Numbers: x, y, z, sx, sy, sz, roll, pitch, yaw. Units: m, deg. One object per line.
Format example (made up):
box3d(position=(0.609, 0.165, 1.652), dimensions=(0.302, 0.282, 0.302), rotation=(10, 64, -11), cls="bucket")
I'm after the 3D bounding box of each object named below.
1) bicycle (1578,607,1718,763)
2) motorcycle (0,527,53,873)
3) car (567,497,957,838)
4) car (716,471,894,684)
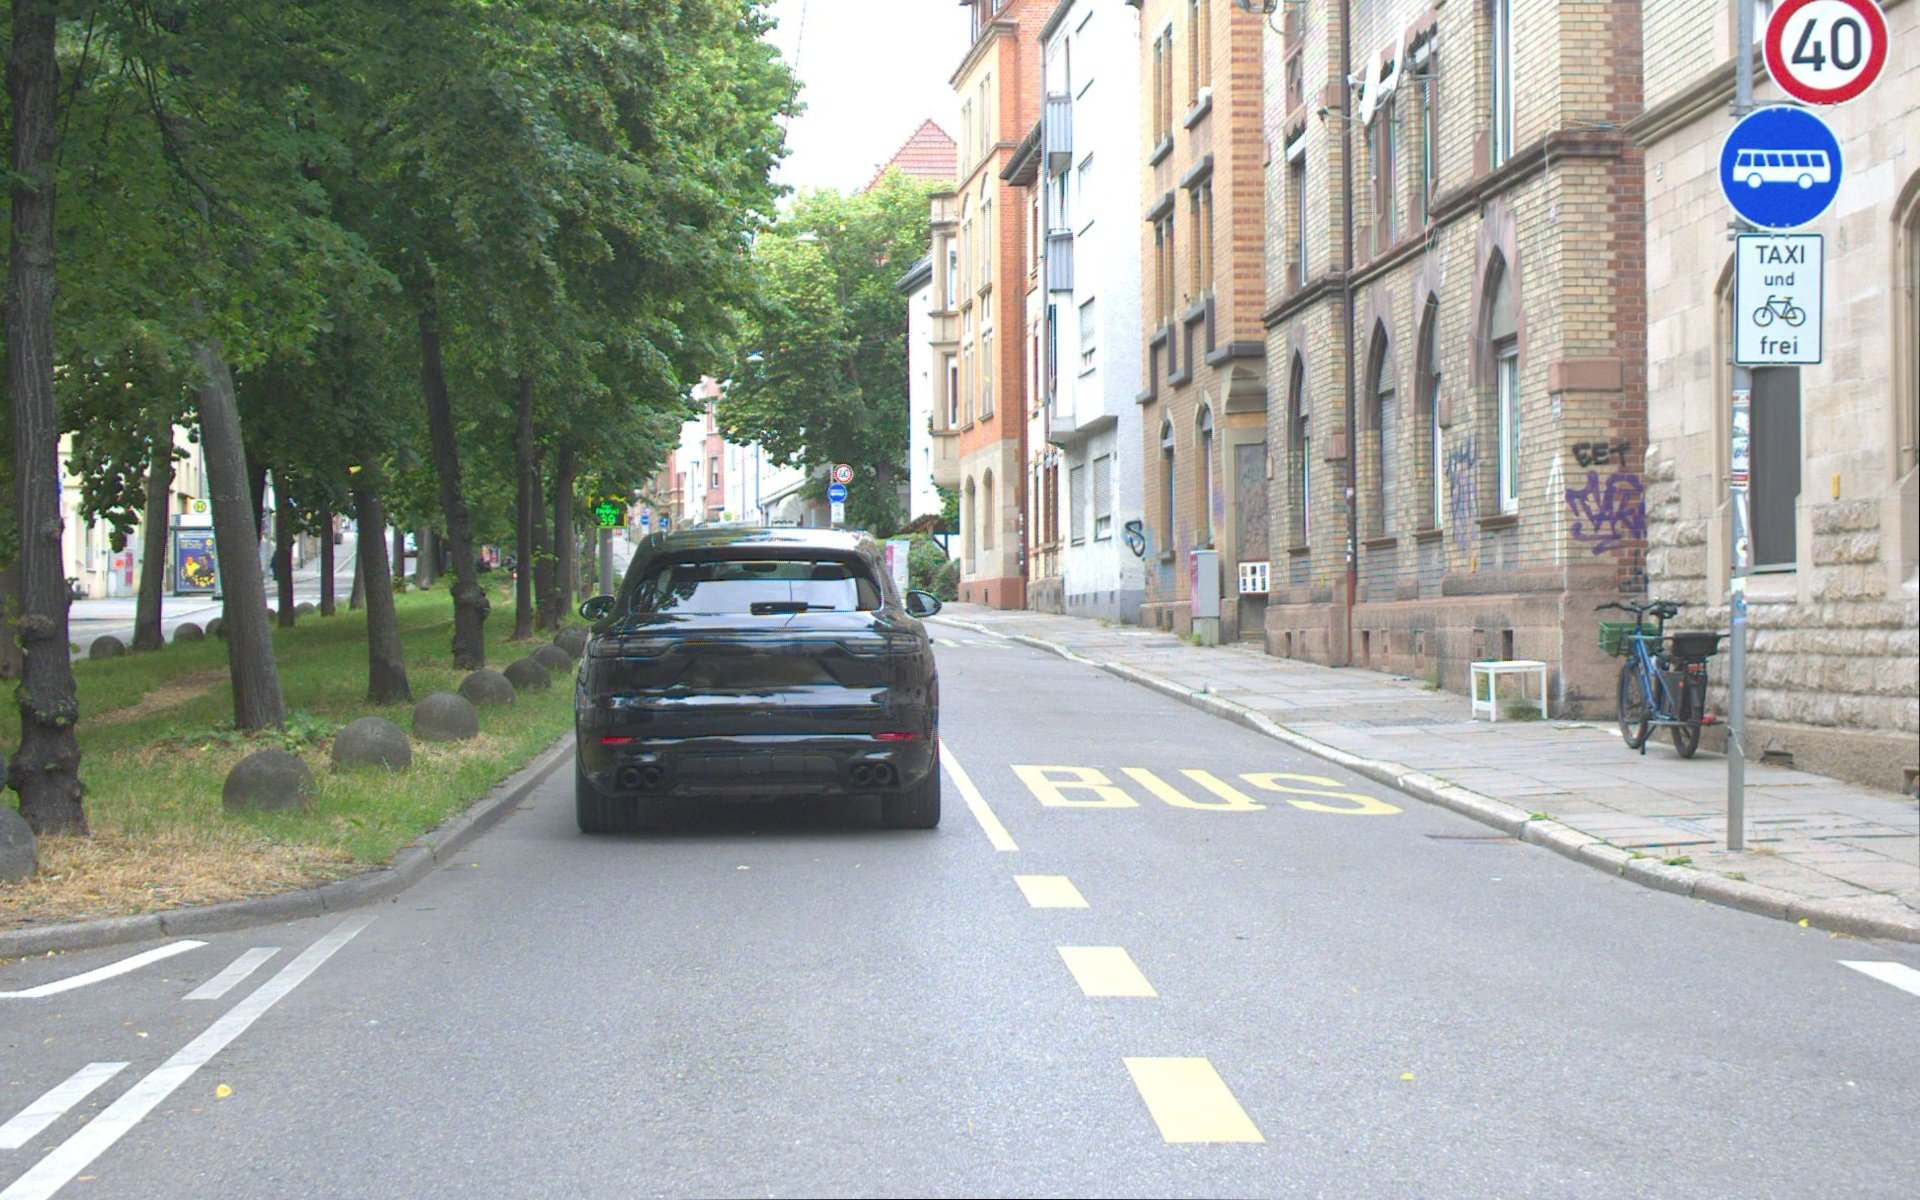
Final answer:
box3d(position=(4.826, 0.576, 24.226), dimensions=(0.446, 1.033, 2.249), rotation=(-1, 0, -2), cls="bicycle")
box3d(position=(-4.519, 0.435, 14.006), dimensions=(1.019, 1.441, 2.247), rotation=(-2, 1, 0), cls="motorcycle")
box3d(position=(-1.145, 0.294, 19.773), dimensions=(1.993, 1.659, 4.001), rotation=(1, 3, -3), cls="car")
box3d(position=(-1.753, -0.308, 38.259), dimensions=(1.849, 2.174, 4.001), rotation=(1, 3, -3), cls="car")
